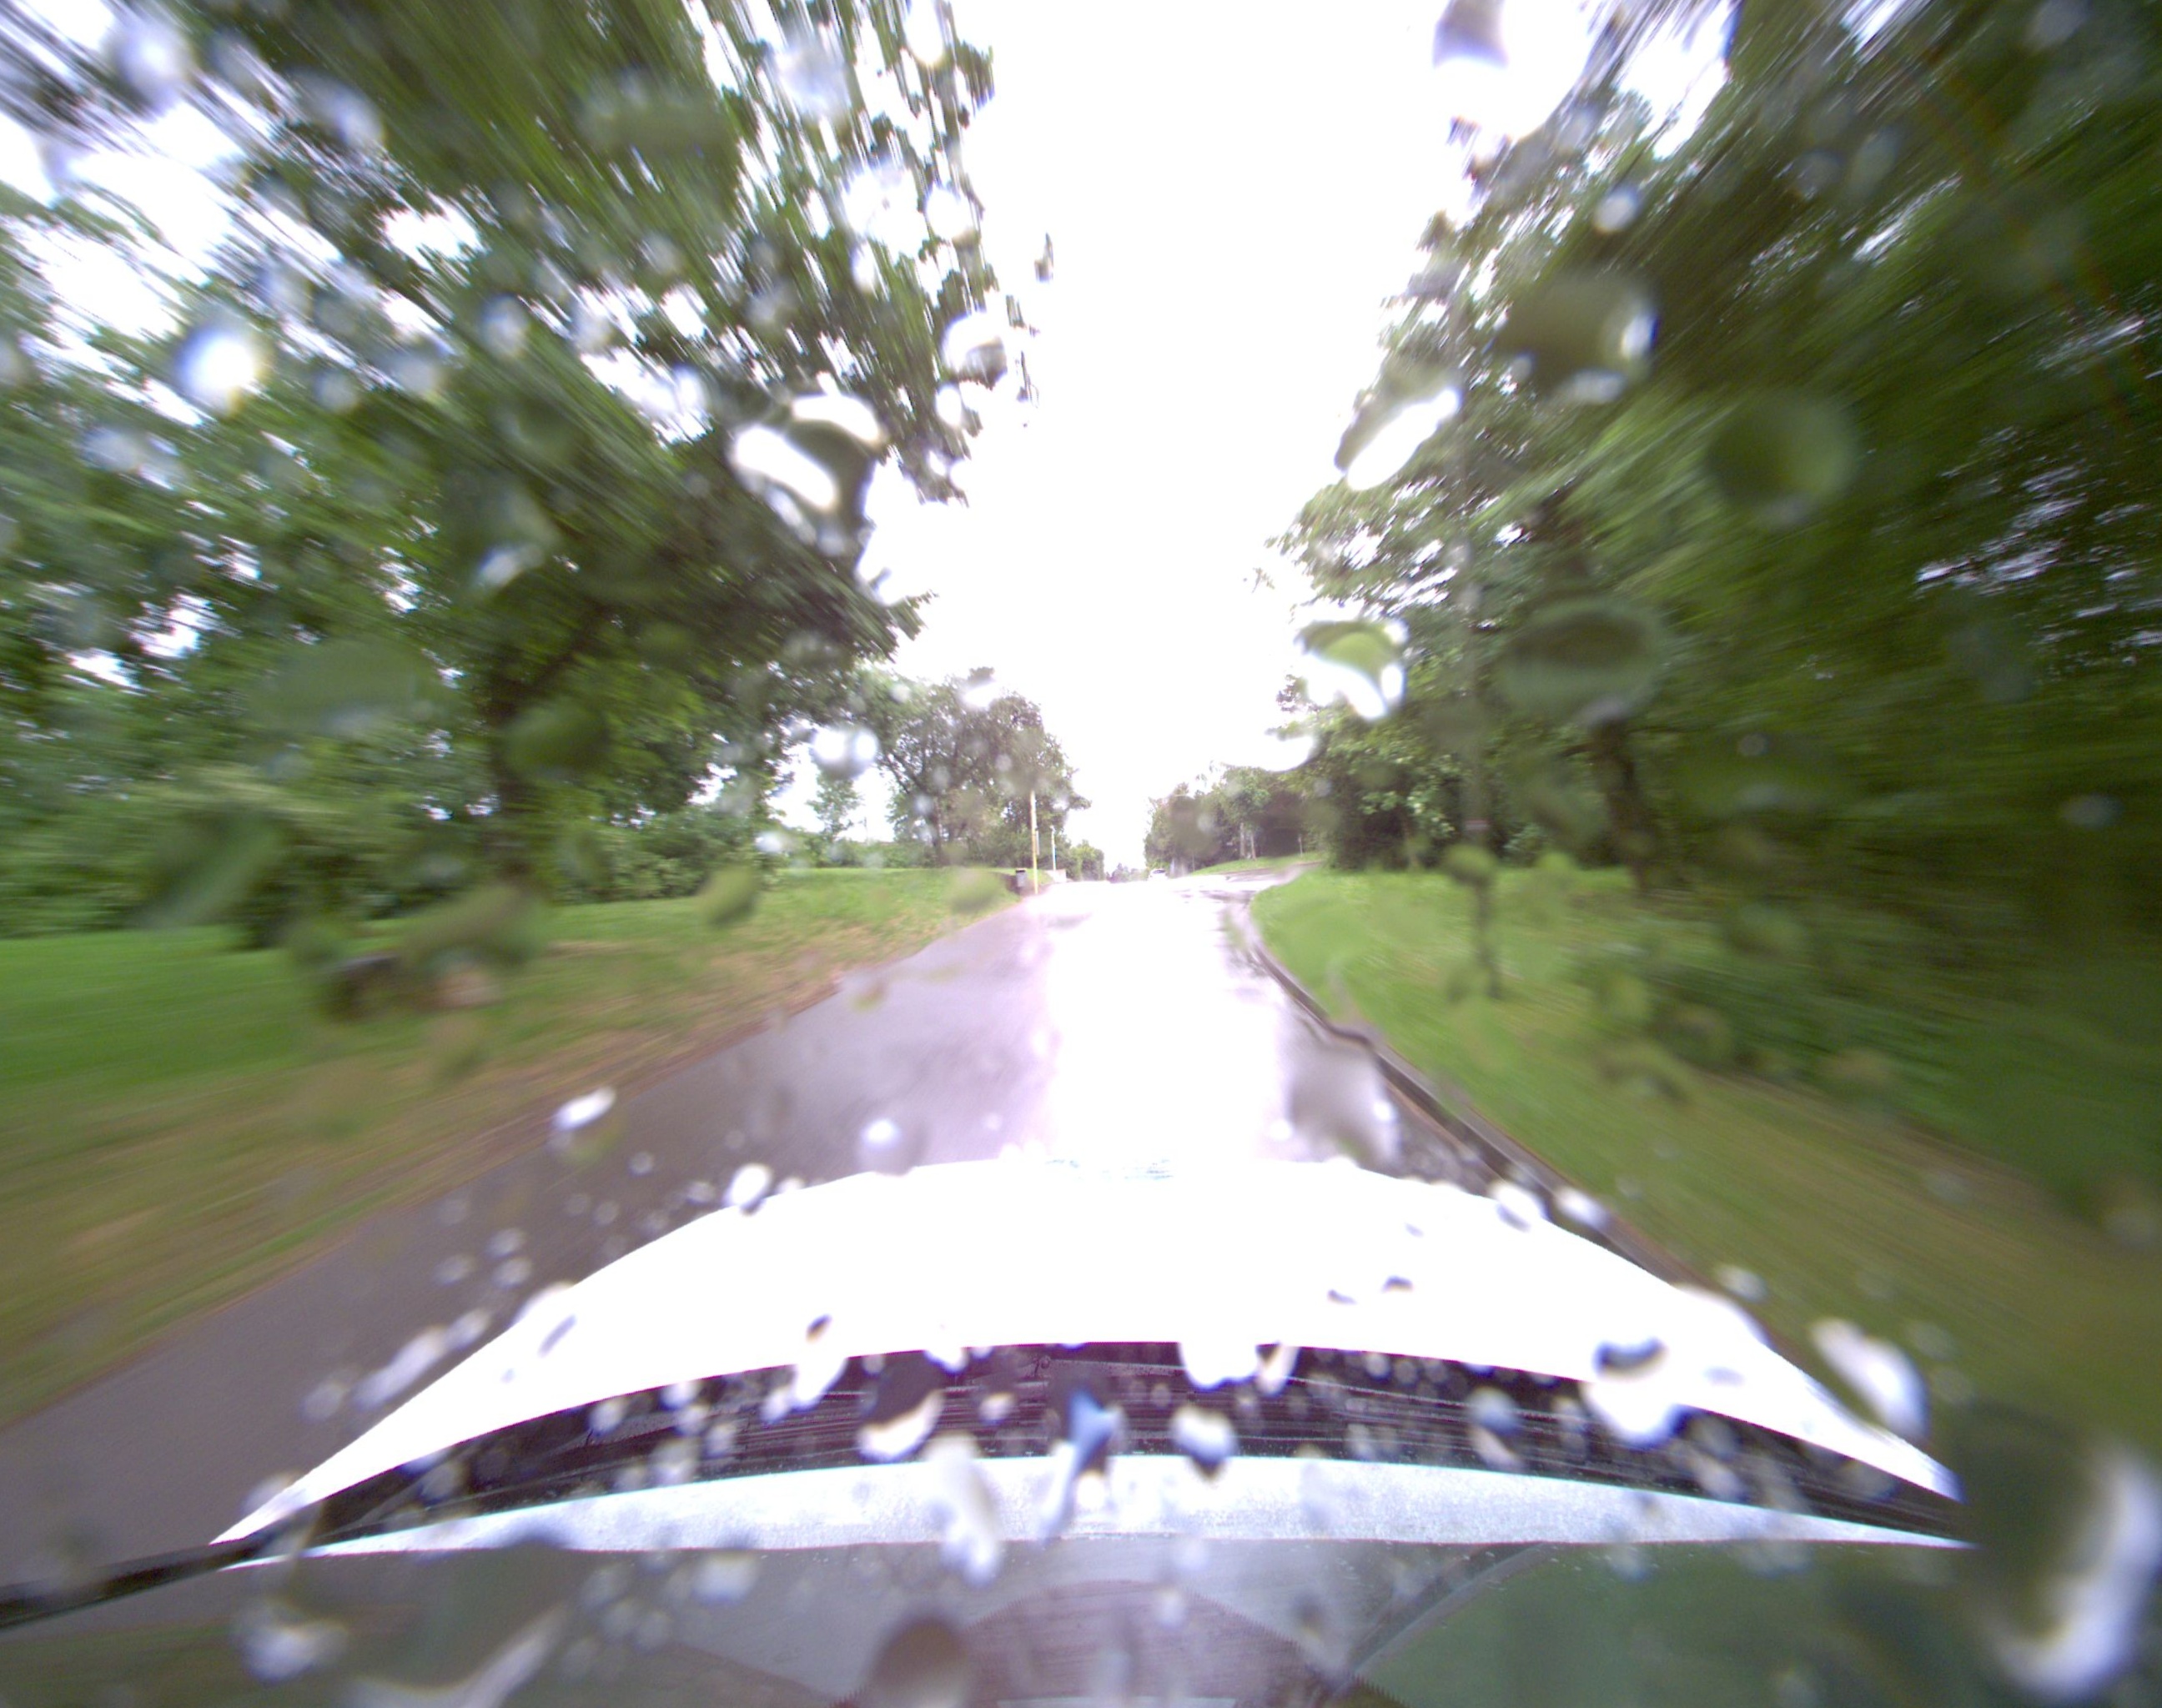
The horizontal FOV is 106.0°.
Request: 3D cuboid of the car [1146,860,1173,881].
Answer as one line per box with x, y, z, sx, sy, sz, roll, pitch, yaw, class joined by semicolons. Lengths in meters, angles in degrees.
6.782;1.414;70.435;1.982;1.583;4.009;-3;-3;9;car
